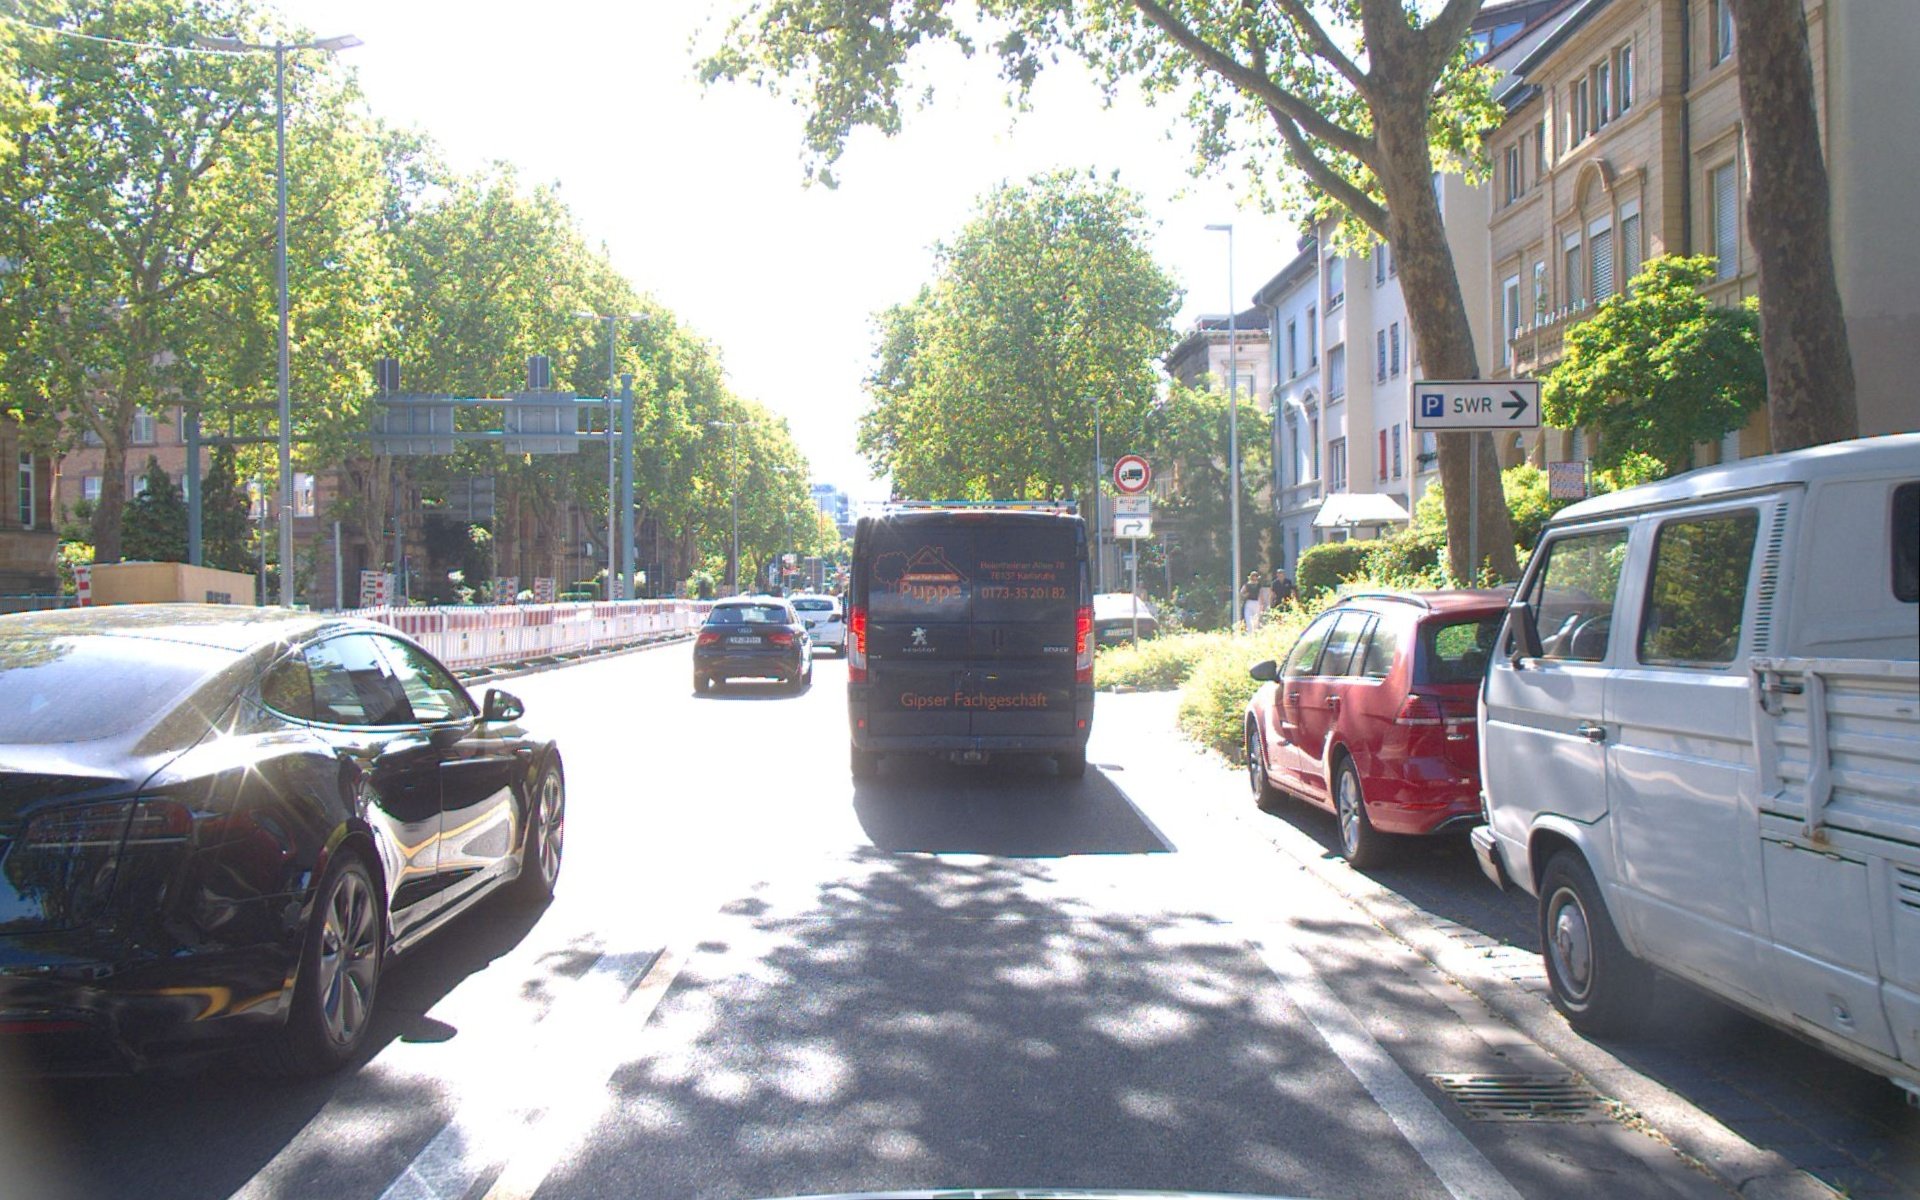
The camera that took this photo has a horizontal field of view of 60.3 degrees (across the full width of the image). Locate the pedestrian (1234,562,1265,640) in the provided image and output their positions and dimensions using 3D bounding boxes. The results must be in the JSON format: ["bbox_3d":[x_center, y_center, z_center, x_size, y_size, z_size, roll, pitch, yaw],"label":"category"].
[{"bbox_3d":[6.799,0.022,38.885,0.661,1.786,0.876,-1,0,8],"label":"pedestrian"}]

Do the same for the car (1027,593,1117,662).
[{"bbox_3d":[2.481,0.579,37.346,1.806,1.433,3.801,-1,0,1],"label":"car"}]

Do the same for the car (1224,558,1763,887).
[{"bbox_3d":[2.950,0.594,10.319,1.784,1.534,4.676,-2,0,0],"label":"car"}]

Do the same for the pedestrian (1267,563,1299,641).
[{"bbox_3d":[7.559,0.042,38.737,0.640,1.786,1.014,-1,0,8],"label":"pedestrian"}]

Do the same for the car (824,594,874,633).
[{"bbox_3d":[-3.632,0.438,54.454,1.392,1.246,3.438,-1,0,0],"label":"car"}]

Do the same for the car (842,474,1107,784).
[{"bbox_3d":[0.047,0.201,14.808,2.053,2.396,3.932,0,1,-2],"label":"car"}]

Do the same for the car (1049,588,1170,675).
[{"bbox_3d":[2.737,0.549,31.180,1.807,1.467,4.486,-1,0,-1],"label":"car"}]

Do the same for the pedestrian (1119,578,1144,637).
[{"bbox_3d":[6.041,0.263,58.269,0.781,2.049,1.168,-1,0,3],"label":"pedestrian"}]

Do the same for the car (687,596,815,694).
[{"bbox_3d":[-3.267,0.669,26.492,1.711,1.432,3.998,1,0,-3],"label":"car"}]

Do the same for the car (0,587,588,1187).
[{"bbox_3d":[-2.848,0.684,6.315,1.886,1.436,4.624,1,0,-1],"label":"car"}]

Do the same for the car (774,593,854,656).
[{"bbox_3d":[-3.504,0.571,40.117,1.515,1.450,3.556,-1,0,1],"label":"car"}]

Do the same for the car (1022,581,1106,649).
[{"bbox_3d":[2.736,0.380,44.138,1.807,1.672,3.798,-2,0,-2],"label":"car"}]

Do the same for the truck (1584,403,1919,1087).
[{"bbox_3d":[3.595,0.386,4.651,1.839,1.914,4.452,-1,0,-2],"label":"truck"}]

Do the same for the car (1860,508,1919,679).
[{"bbox_3d":[11.847,-0.057,17.765,1.689,1.886,3.467,0,0,-34],"label":"car"}]
